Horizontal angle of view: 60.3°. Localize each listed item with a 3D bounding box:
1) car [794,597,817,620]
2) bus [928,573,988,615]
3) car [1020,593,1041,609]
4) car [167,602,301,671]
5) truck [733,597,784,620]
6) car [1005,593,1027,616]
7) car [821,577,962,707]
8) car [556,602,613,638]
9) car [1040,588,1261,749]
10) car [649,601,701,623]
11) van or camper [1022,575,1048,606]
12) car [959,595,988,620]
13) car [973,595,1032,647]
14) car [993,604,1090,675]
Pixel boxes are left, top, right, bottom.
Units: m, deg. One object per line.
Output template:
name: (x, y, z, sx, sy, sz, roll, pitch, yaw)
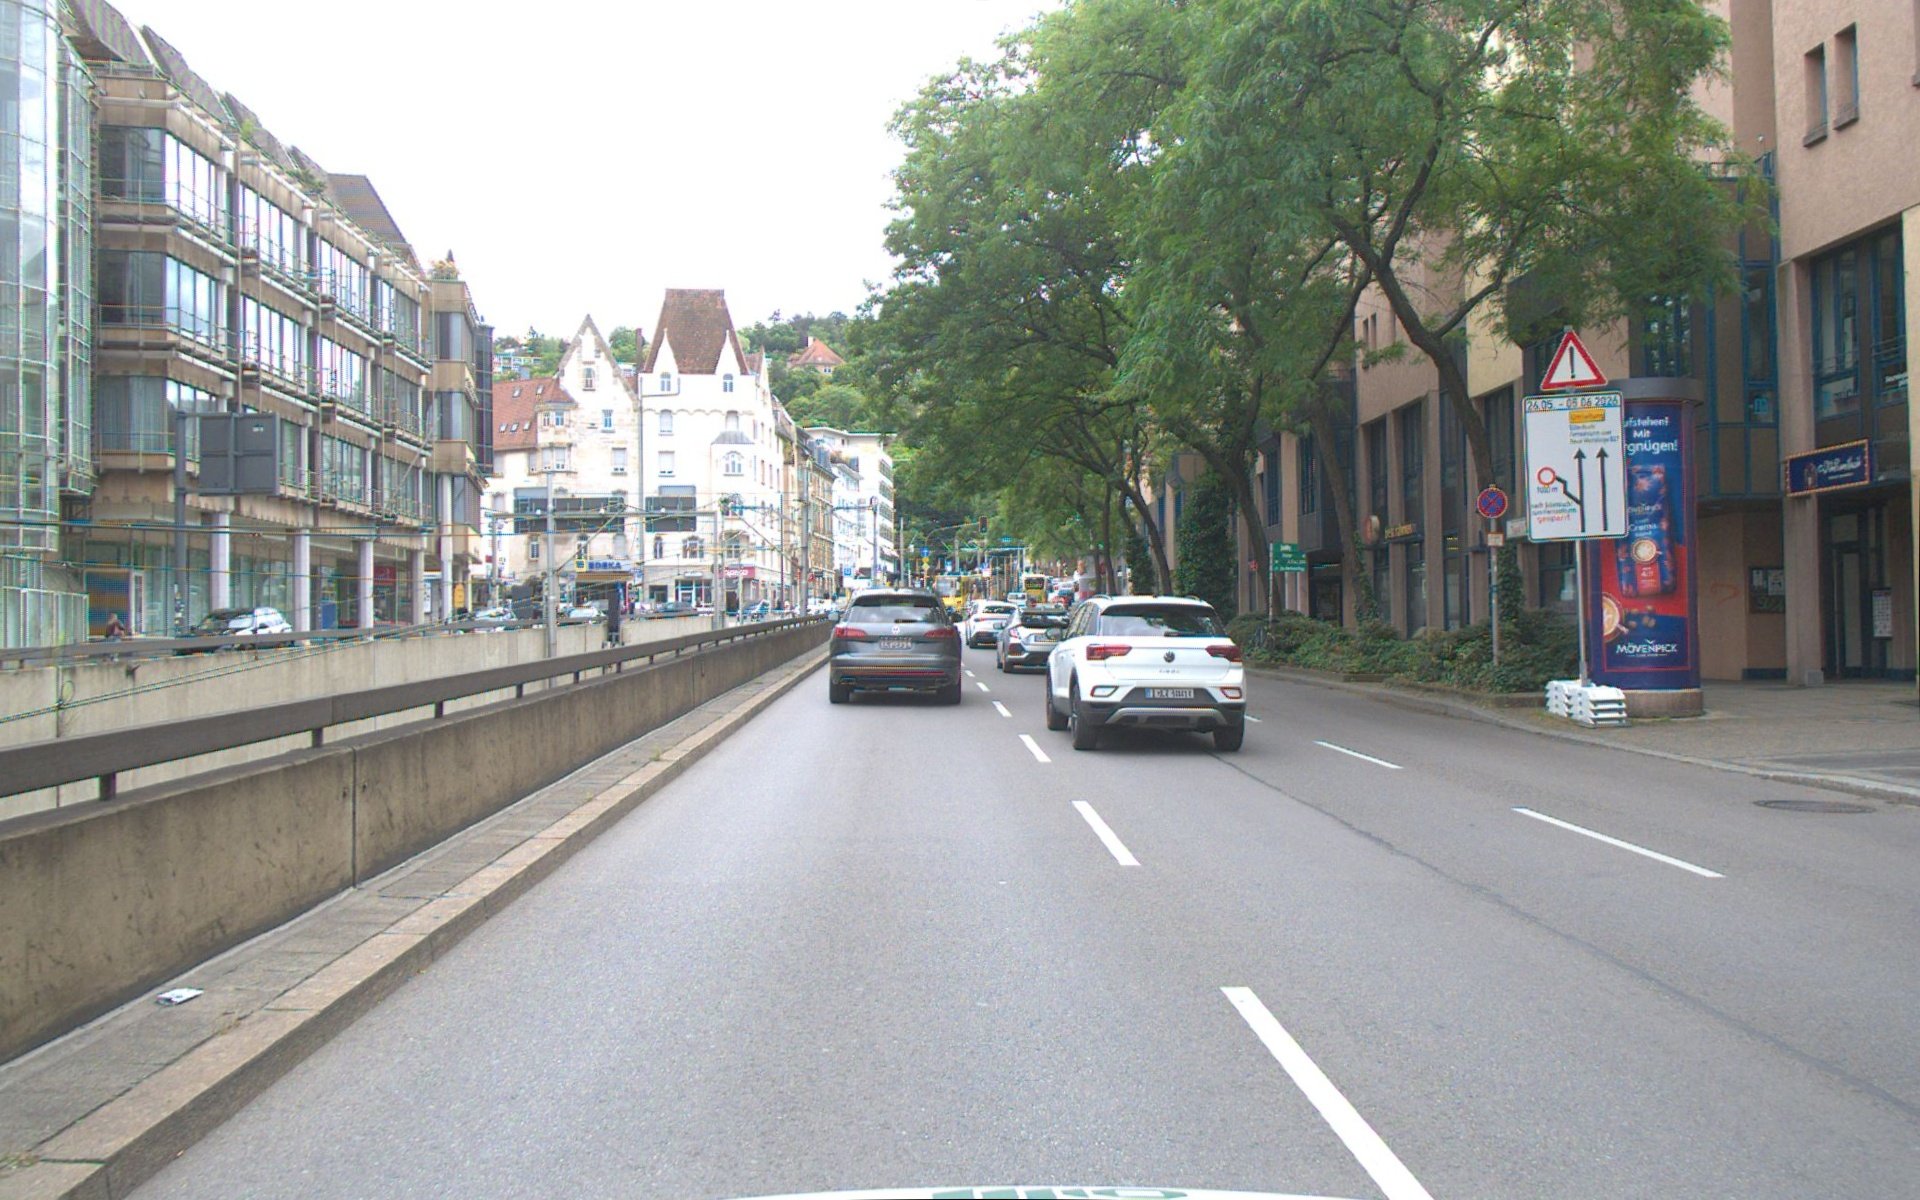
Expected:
car: (-12.146, 0.661, 130.265, 1.783, 1.676, 3.995, -1, 0, -5)
bus: (-0.015, -0.537, 152.713, 3.768, 3.593, 17.257, -1, 0, 6)
car: (6.658, 0.109, 156.344, 1.804, 1.495, 4.002, -1, 0, 4)
car: (-20.390, 0.993, 46.627, 1.953, 1.798, 4.279, -1, 0, -2)
truck: (-15.846, 0.673, 130.395, 2.062, 1.676, 4.798, -1, 0, 20)
car: (4.859, 0.354, 143.659, 1.794, 1.907, 4.872, -2, 0, 2)
car: (-0.987, 0.554, 24.918, 1.930, 1.725, 4.224, 0, 1, -1)
car: (-18.702, 0.981, 82.563, 1.953, 1.713, 3.999, -1, 0, -1)
car: (1.957, 0.679, 18.140, 1.762, 1.572, 3.932, 0, 0, -3)
car: (-23.107, 0.970, 134.009, 3.907, 1.676, 1.823, -1, 0, -3)
van or camper: (8.033, -1.019, 176.376, 2.572, 3.234, 5.805, -1, 0, 3)
car: (0.925, 0.517, 113.066, 1.795, 1.594, 3.765, -2, 0, -2)
car: (1.360, 0.665, 54.337, 1.794, 1.544, 3.767, -3, 0, 0)
car: (1.767, 0.837, 37.089, 1.796, 1.457, 4.145, 0, 1, -3)
